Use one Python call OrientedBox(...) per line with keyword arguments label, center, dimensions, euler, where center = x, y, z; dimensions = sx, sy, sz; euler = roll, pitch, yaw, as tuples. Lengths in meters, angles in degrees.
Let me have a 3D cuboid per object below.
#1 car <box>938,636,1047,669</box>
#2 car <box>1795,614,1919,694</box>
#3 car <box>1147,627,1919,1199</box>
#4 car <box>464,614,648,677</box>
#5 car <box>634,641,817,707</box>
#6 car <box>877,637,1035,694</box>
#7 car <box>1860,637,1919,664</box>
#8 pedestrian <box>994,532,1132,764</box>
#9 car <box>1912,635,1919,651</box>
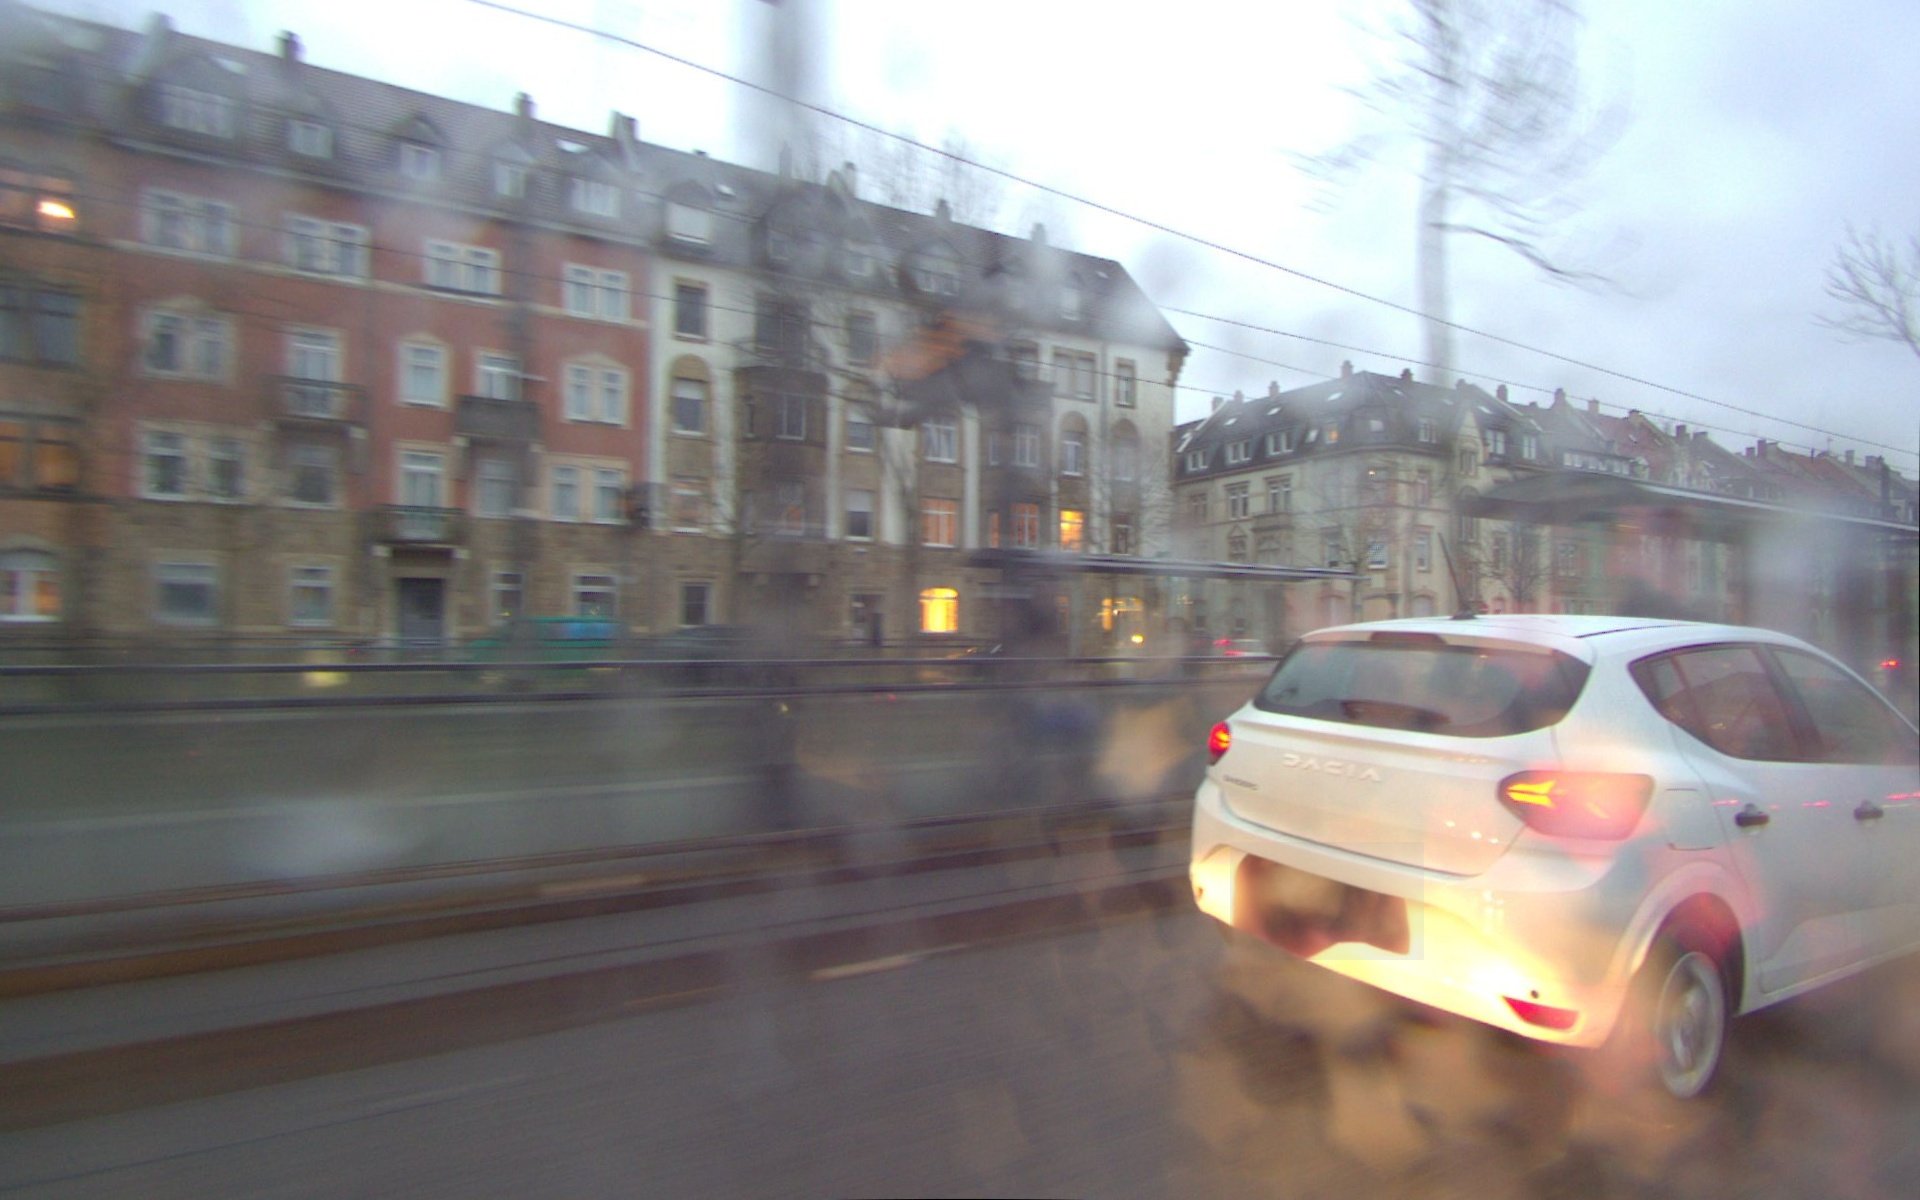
OrientedBox(label="car", center=(1.118, 1.763, 34.166), dimensions=(3.377, 1.084, 1.646), euler=(1, -3, -30))
OrientedBox(label="car", center=(23.159, 1.337, 25.320), dimensions=(3.953, 1.847, 1.984), euler=(1, -3, -30))
OrientedBox(label="car", center=(2.835, 0.876, 4.107), dimensions=(3.951, 1.506, 1.619), euler=(0, -2, -29))
OrientedBox(label="car", center=(-10.894, 1.220, 27.159), dimensions=(4.415, 1.557, 1.832), euler=(2, -1, -30))
OrientedBox(label="car", center=(-5.652, 1.720, 24.210), dimensions=(3.950, 1.461, 1.986), euler=(1, -2, -28))
OrientedBox(label="car", center=(-0.102, 1.782, 27.982), dimensions=(3.950, 1.461, 1.986), euler=(1, -2, -28))
OrientedBox(label="car", center=(51.334, 2.747, 55.259), dimensions=(3.722, 1.416, 1.646), euler=(1, -2, -30))
OrientedBox(label="pedestrian", center=(0.765, 0.344, 7.544), dimensions=(0.738, 1.627, 0.707), euler=(1, -1, -31))
OrientedBox(label="car", center=(73.068, 3.164, 74.110), dimensions=(1.626, 1.171, 3.765), euler=(1, -2, -24))
